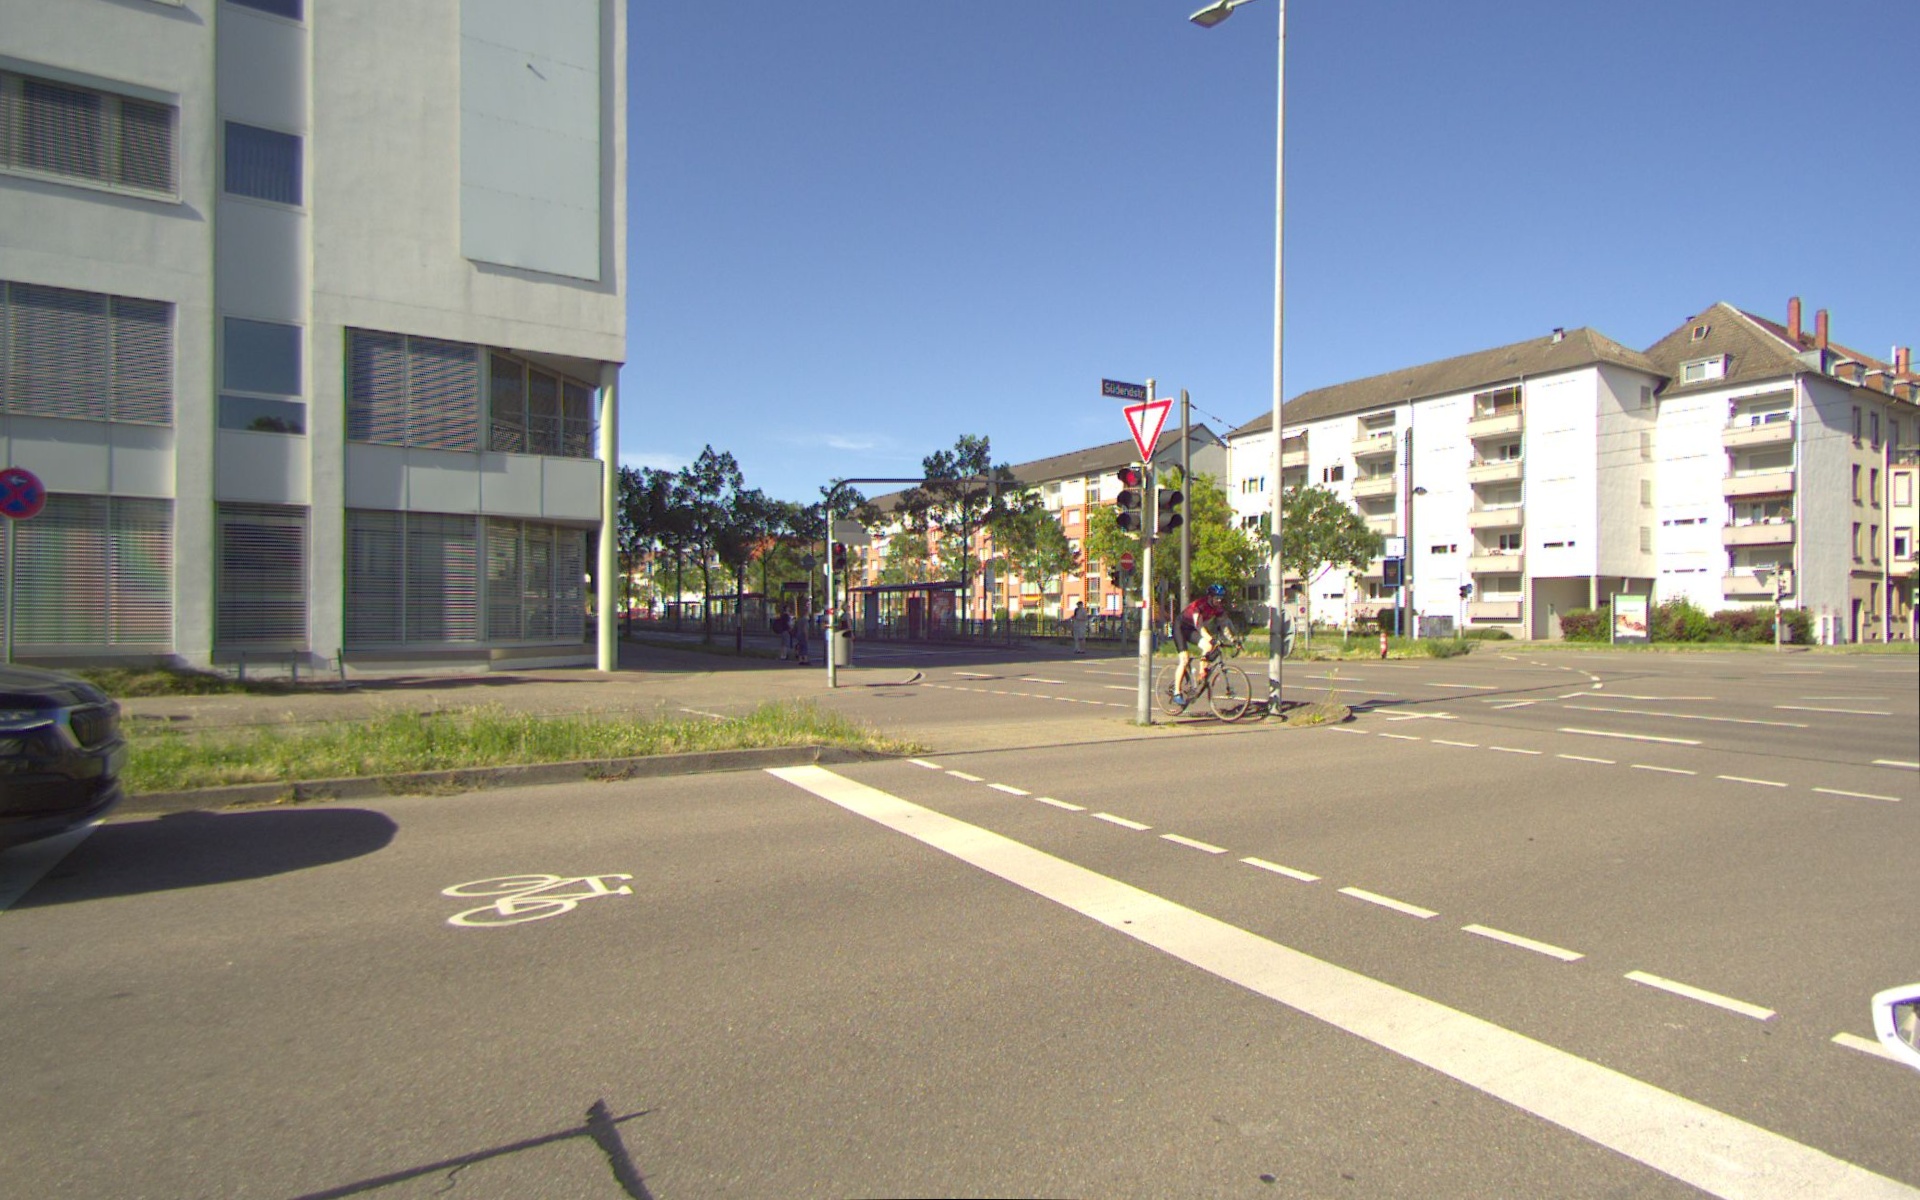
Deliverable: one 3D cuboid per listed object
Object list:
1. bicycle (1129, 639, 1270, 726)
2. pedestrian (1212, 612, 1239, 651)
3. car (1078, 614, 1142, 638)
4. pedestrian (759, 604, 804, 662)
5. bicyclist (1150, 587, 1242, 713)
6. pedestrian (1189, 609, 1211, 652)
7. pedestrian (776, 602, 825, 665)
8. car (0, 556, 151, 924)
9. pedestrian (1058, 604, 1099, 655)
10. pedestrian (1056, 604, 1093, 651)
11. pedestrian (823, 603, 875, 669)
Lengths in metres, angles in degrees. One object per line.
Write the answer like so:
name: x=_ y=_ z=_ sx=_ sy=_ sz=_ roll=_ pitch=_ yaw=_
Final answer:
bicycle: x=3.168 y=1.062 z=13.421 sx=0.668 sy=1.069 sz=1.791 roll=1 pitch=-2 yaw=-40
pedestrian: x=10.692 y=1.263 z=40.456 sx=0.850 sy=1.554 sz=0.719 roll=1 pitch=-1 yaw=-36
car: x=10.507 y=1.824 z=70.620 sx=4.310 sy=1.451 sz=1.694 roll=2 pitch=1 yaw=7
pedestrian: x=-5.555 y=1.011 z=31.232 sx=1.143 sy=1.749 sz=0.805 roll=1 pitch=-1 yaw=-37
bicyclist: x=3.152 y=0.655 z=13.443 sx=0.668 sy=1.606 sz=0.993 roll=1 pitch=-2 yaw=-40
pedestrian: x=9.786 y=1.249 z=41.018 sx=0.797 sy=1.749 sz=1.155 roll=0 pitch=-1 yaw=10
pedestrian: x=-4.590 y=0.957 z=28.910 sx=1.143 sy=1.749 sz=0.805 roll=1 pitch=-1 yaw=-37
car: x=-6.361 y=0.569 z=4.195 sx=4.428 sy=1.650 sz=1.744 roll=1 pitch=1 yaw=-32
pedestrian: x=4.264 y=1.053 z=36.159 sx=1.143 sy=1.794 sz=0.914 roll=1 pitch=-1 yaw=-36
pedestrian: x=4.327 y=1.026 z=38.013 sx=1.143 sy=1.749 sz=0.805 roll=1 pitch=-1 yaw=-37
pedestrian: x=-2.990 y=0.955 z=27.024 sx=1.143 sy=1.749 sz=0.805 roll=1 pitch=-1 yaw=-37
